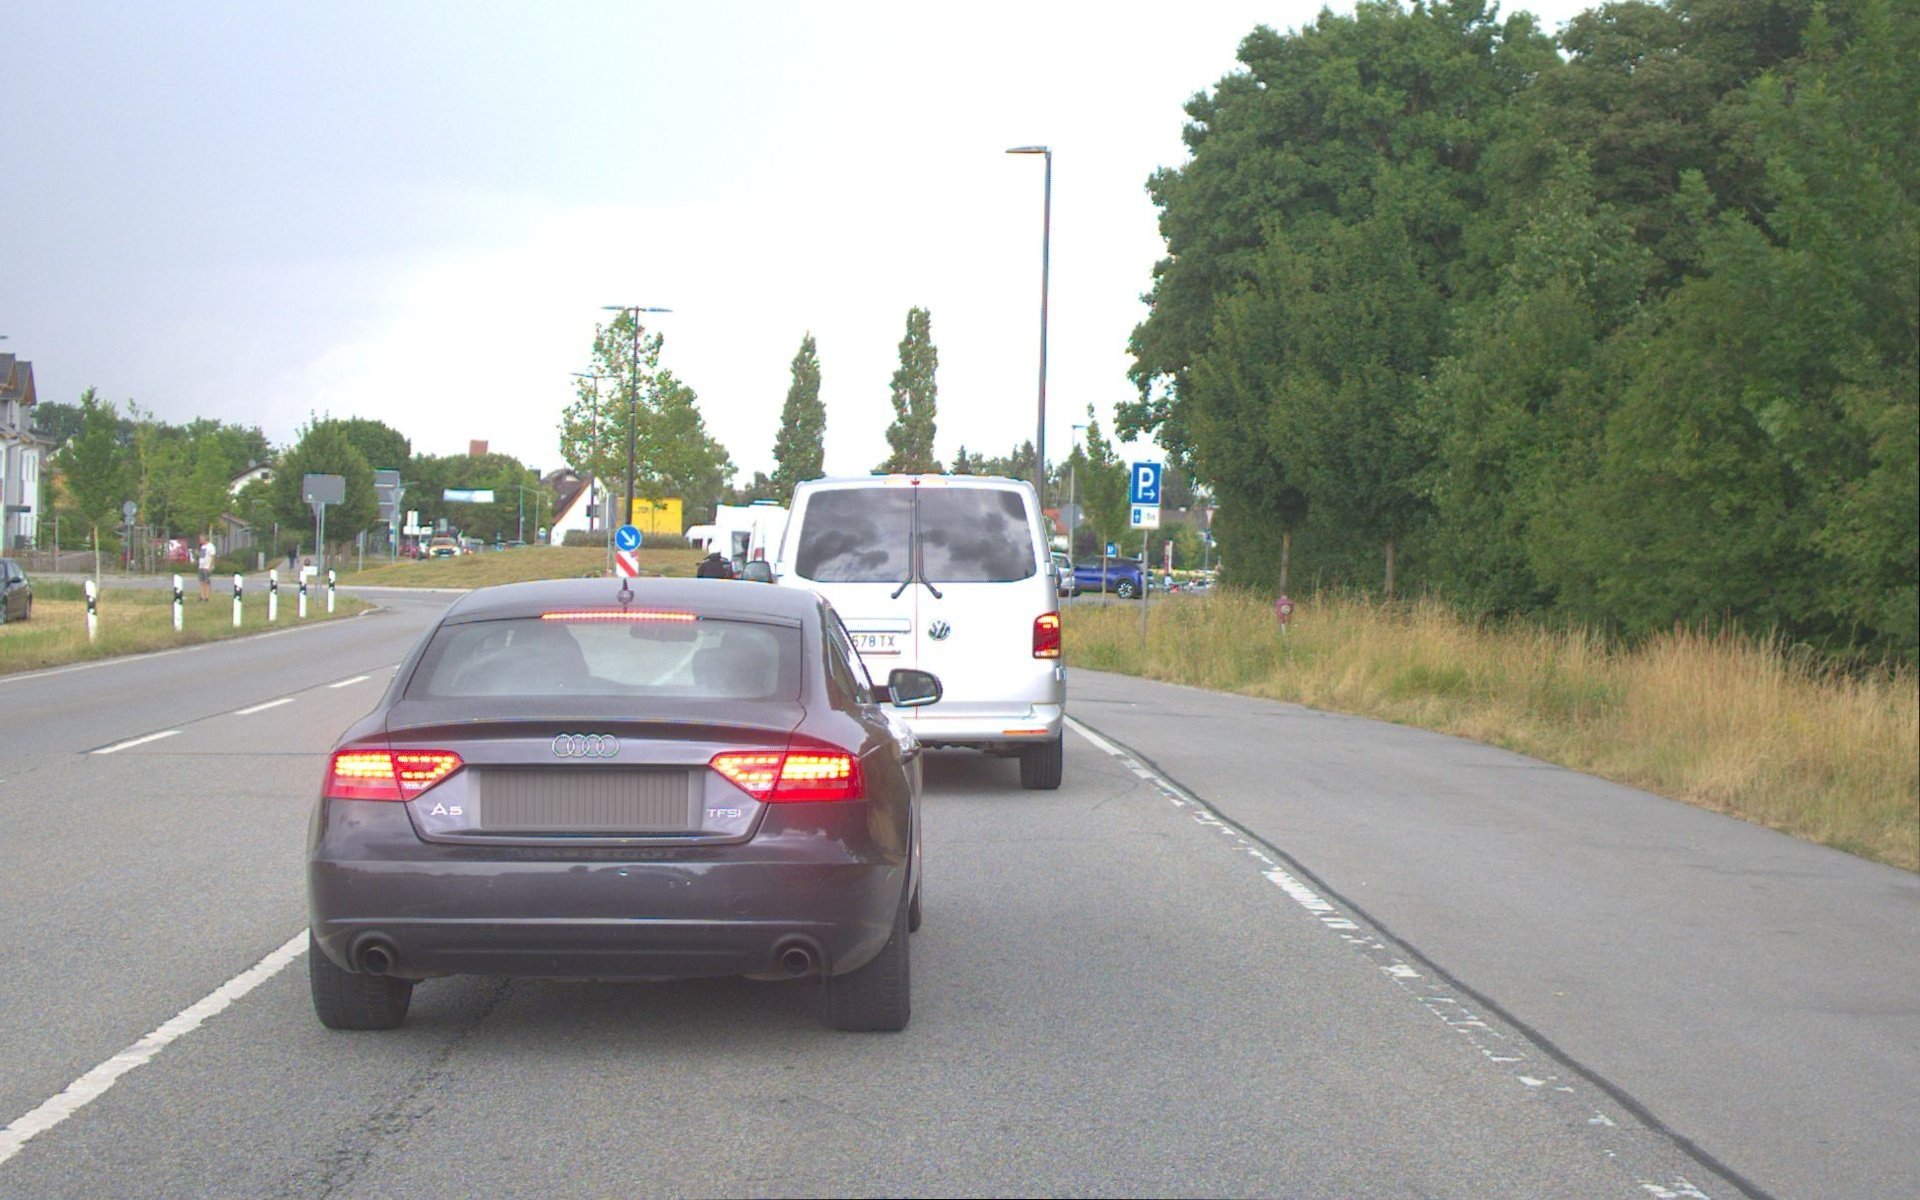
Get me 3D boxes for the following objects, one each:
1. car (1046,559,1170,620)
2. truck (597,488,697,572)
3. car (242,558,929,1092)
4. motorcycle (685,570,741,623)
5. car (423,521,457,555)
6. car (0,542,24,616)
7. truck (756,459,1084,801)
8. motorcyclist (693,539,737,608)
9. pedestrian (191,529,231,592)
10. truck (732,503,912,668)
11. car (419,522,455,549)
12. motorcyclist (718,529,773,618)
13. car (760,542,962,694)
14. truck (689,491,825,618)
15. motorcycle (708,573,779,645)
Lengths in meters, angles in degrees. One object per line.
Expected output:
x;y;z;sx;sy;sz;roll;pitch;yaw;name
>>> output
5.298;-0.379;122.927;3.991;2.007;1.998;2;1;19;car
-14.287;-3.191;156.106;3.575;3.566;9.959;2;1;-10;truck
-1.061;0.601;11.647;1.875;1.449;4.177;1;1;0;car
-4.899;-0.079;68.413;0.944;1.016;2.284;1;1;-1;motorcycle
-31.939;-3.810;211.252;1.993;2.007;4.001;2;1;-8;car
-20.732;-0.467;71.875;1.993;1.437;4.001;1;2;-12;car
-0.269;0.141;22.762;1.904;1.991;4.629;1;1;-1;truck
-4.883;-0.536;68.464;0.785;1.352;0.854;1;1;0;motorcyclist
-19.265;-1.017;88.434;0.702;1.580;0.656;2;1;29;pedestrian
-1.756;-0.218;45.395;2.193;2.007;5.085;1;1;-1;truck
-33.477;-4.150;220.294;1.993;1.636;4.001;2;1;-5;car
-3.418;-0.424;54.779;0.772;1.379;0.820;2;1;1;motorcyclist
-1.048;0.155;36.475;1.993;1.480;4.000;1;1;-2;car
-4.760;-1.057;79.612;2.625;2.728;5.868;2;1;-8;truck
-3.437;0.139;54.825;0.920;1.090;2.188;2;1;1;motorcycle
